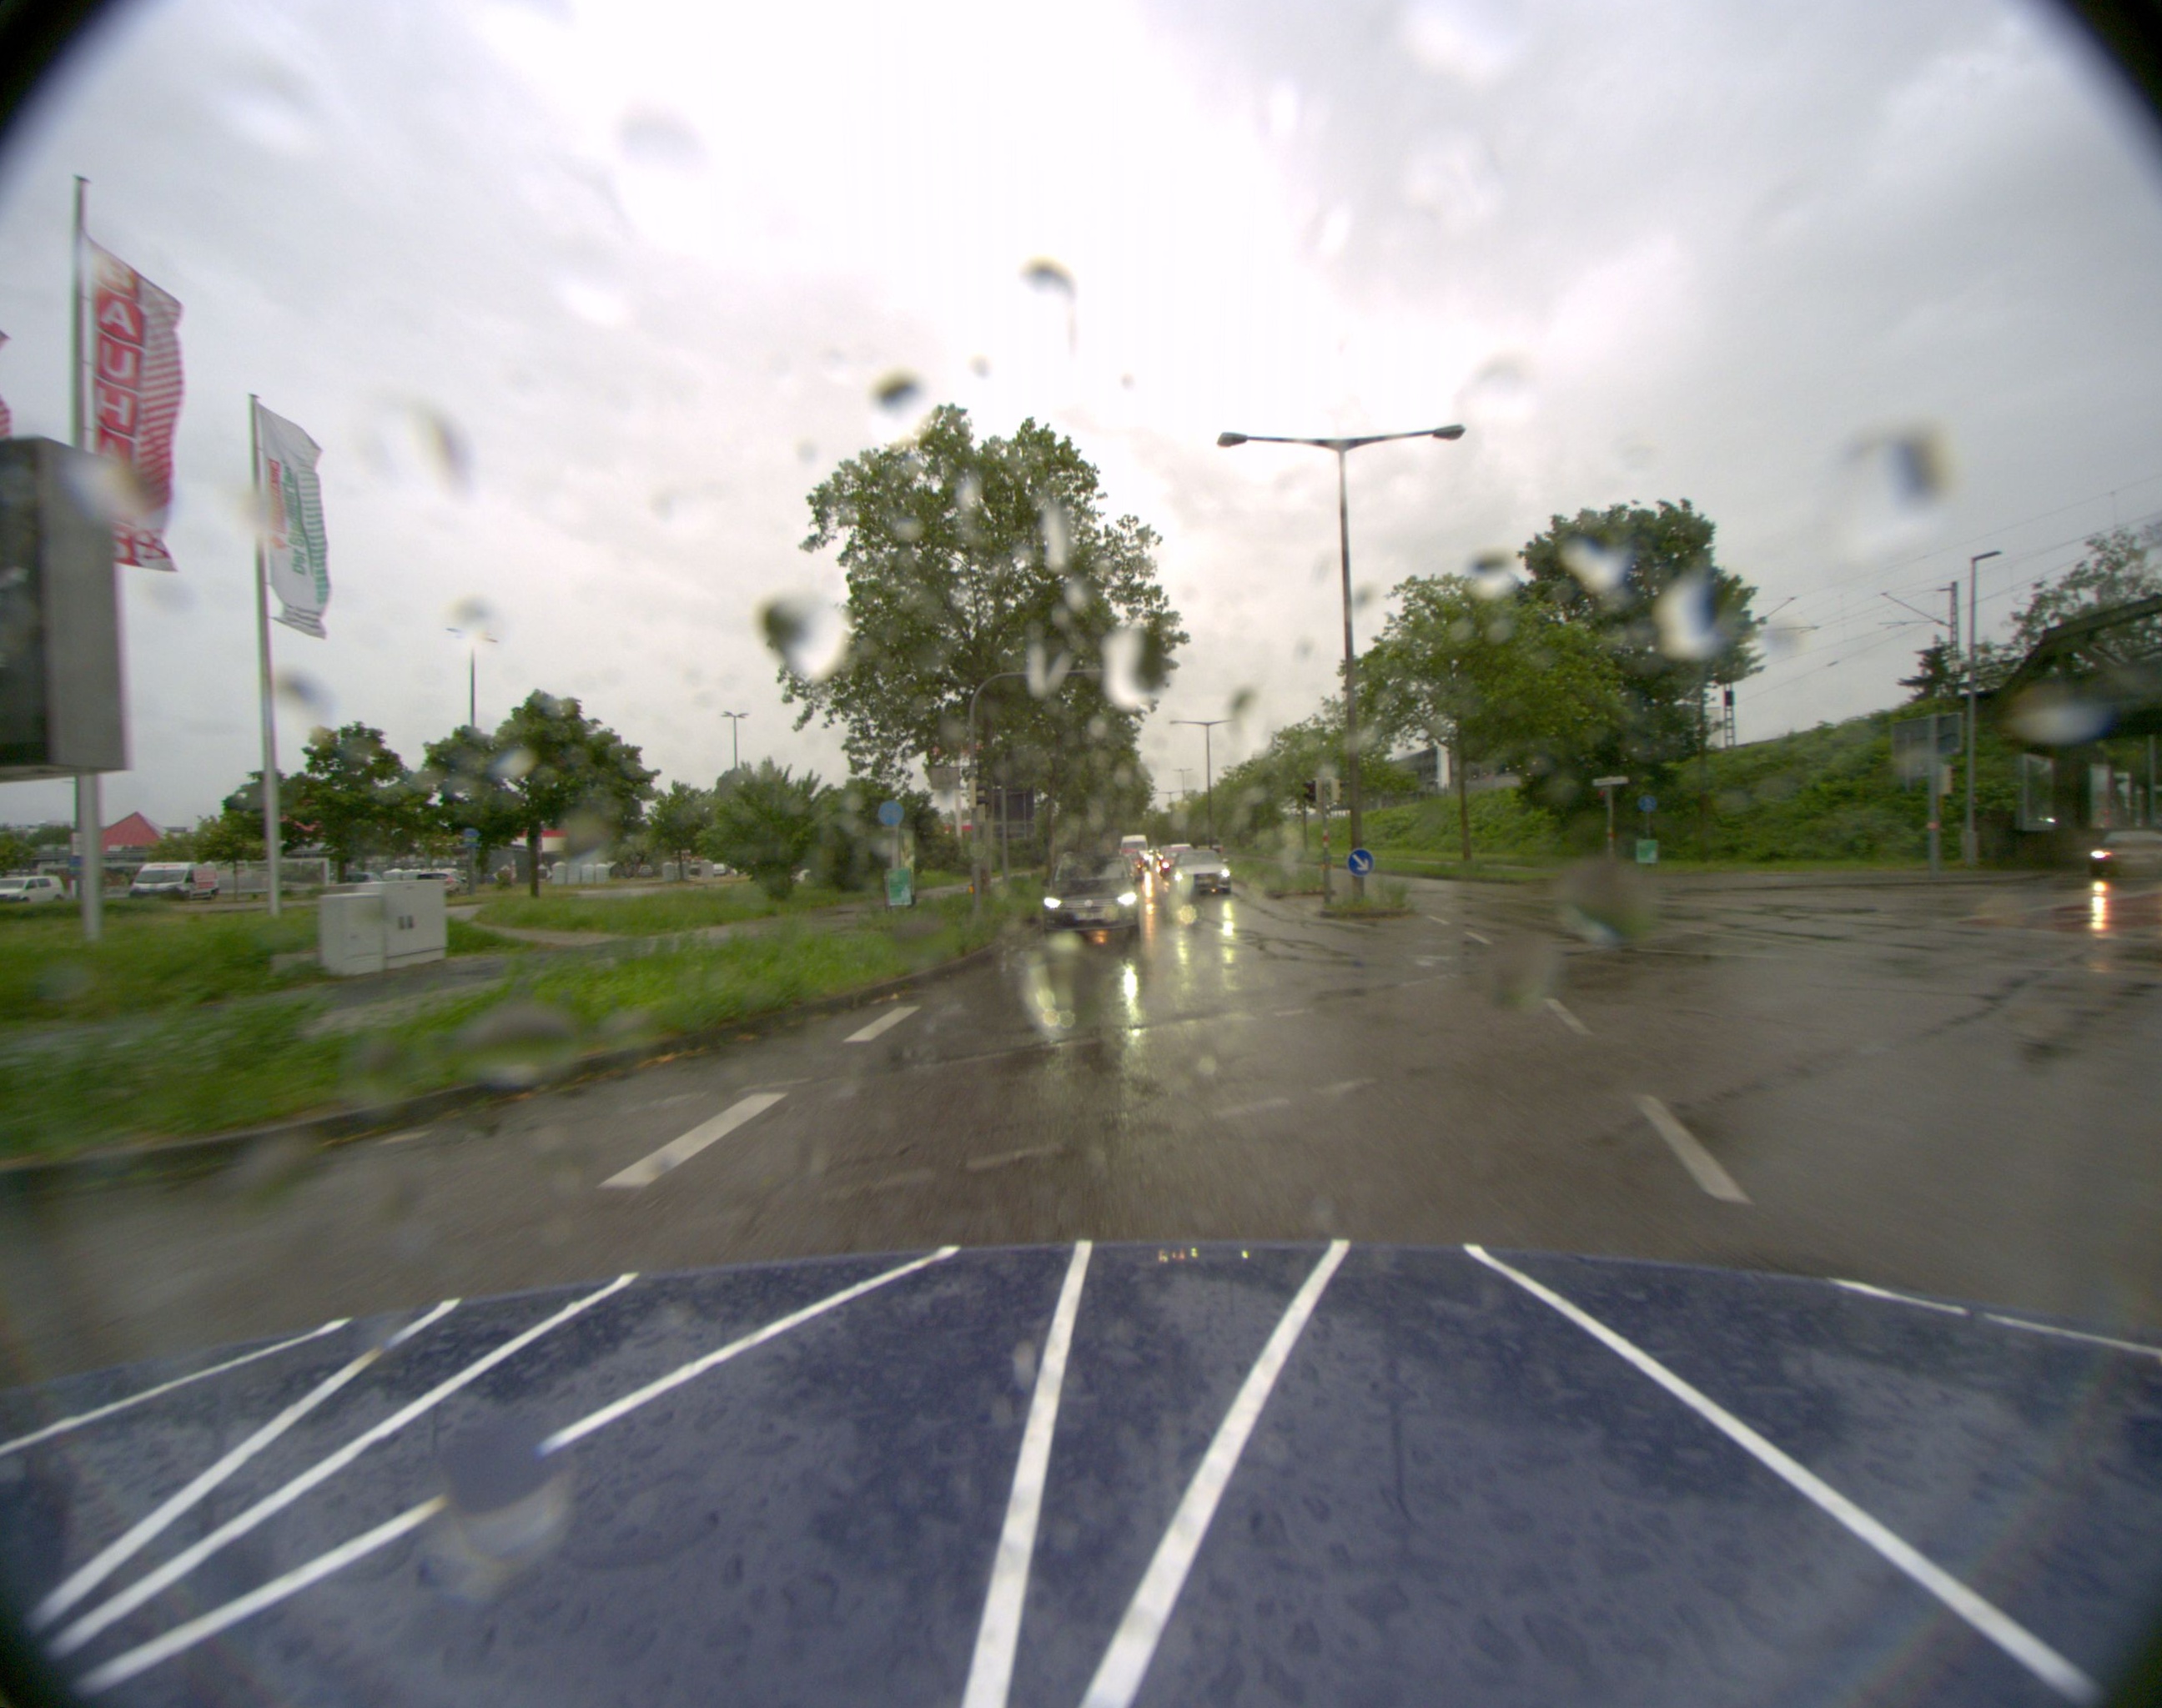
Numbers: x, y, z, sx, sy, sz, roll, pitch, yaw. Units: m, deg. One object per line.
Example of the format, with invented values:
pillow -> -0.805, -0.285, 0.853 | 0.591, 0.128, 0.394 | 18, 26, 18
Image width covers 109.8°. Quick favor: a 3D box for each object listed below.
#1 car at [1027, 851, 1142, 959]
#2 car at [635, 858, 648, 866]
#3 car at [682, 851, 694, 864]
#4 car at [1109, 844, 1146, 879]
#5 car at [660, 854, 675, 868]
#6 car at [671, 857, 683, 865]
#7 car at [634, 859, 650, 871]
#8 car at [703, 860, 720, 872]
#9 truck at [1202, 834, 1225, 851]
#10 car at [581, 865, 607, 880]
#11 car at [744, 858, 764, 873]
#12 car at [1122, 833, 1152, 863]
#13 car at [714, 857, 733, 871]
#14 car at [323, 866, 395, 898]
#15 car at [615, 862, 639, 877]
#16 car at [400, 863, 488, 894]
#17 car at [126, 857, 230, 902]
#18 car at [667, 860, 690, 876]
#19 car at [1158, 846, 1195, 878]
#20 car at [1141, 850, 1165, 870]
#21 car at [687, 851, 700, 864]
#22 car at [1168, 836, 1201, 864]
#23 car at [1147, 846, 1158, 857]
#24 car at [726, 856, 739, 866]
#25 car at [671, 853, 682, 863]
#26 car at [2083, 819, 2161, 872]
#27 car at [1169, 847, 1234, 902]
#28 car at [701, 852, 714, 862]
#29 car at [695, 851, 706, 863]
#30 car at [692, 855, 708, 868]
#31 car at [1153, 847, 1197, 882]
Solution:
car -> 0.202, 0.829, 14.747 | 1.770, 1.596, 4.627 | -4, 1, 4
car -> -90.130, 1.661, 155.830 | 1.932, 1.637, 4.264 | -2, 1, -24
car -> -82.201, 0.730, 159.023 | 1.932, 2.465, 4.264 | -3, 1, -24
car -> 2.608, 0.383, 42.199 | 1.831, 1.737, 4.148 | -4, 1, 5
car -> -75.861, 1.214, 139.404 | 1.932, 2.365, 4.264 | -3, 1, -24
car -> -84.131, 1.366, 158.197 | 1.932, 1.544, 4.264 | -2, 1, -24
car -> -68.828, 1.750, 119.148 | 2.005, 1.667, 4.263 | -3, 1, -30
car -> -52.168, 1.652, 107.334 | 1.932, 1.544, 4.264 | -2, 1, -24
truck -> 19.310, -1.654, 111.009 | 2.480, 2.351, 6.867 | -2, 1, 3
car -> -55.550, 2.059, 86.701 | 1.932, 1.544, 4.264 | -3, 1, -26
car -> -36.133, 1.270, 83.857 | 1.932, 1.544, 4.264 | -2, 1, -24
car -> 4.199, -0.474, 56.494 | 1.998, 2.002, 5.133 | -4, 1, 6
car -> -43.660, 1.212, 92.821 | 1.932, 1.544, 4.264 | -2, 1, -24
car -> -34.062, 1.282, 35.956 | 1.872, 1.285, 4.039 | -2, 1, -35
car -> -52.948, 1.781, 88.673 | 1.932, 1.544, 4.264 | -3, 1, -26
car -> -30.828, 1.127, 36.929 | 1.870, 1.285, 4.043 | -2, 1, -18
car -> -53.019, 1.419, 44.775 | 2.335, 2.348, 5.502 | -3, 2, -33
car -> -40.927, 1.400, 77.302 | 1.932, 1.544, 4.263 | -3, 1, -28
car -> 4.941, 0.369, 39.833 | 1.723, 1.456, 4.093 | -4, 1, 5
car -> 6.020, 0.465, 63.547 | 1.714, 1.494, 4.000 | -4, 1, 3
car -> -78.429, 0.687, 153.777 | 1.932, 2.465, 4.264 | -3, 1, -24
car -> 6.841, -0.288, 50.399 | 1.831, 1.603, 4.148 | -4, 1, 5
car -> 12.091, -0.442, 129.148 | 1.724, 1.674, 3.728 | -4, 1, 4
car -> -61.760, 1.214, 134.681 | 1.932, 1.544, 4.264 | -2, 1, -24
car -> -91.125, 0.948, 171.227 | 1.932, 2.091, 4.264 | -3, 1, -24
car -> 30.859, -0.269, 22.102 | 4.154, 1.425, 1.689 | -2, 0, -32
car -> 4.061, 0.631, 26.311 | 1.773, 1.565, 4.822 | -4, 1, 5
car -> -70.659, 0.605, 143.874 | 1.932, 1.716, 4.264 | -3, 1, -24
car -> -80.117, 0.659, 160.023 | 1.932, 2.465, 4.264 | -3, 1, -24
car -> -61.042, 1.223, 121.751 | 1.932, 1.887, 4.739 | -3, 1, -24
car -> 4.281, 0.432, 35.045 | 1.682, 1.369, 4.011 | -4, 1, 4
